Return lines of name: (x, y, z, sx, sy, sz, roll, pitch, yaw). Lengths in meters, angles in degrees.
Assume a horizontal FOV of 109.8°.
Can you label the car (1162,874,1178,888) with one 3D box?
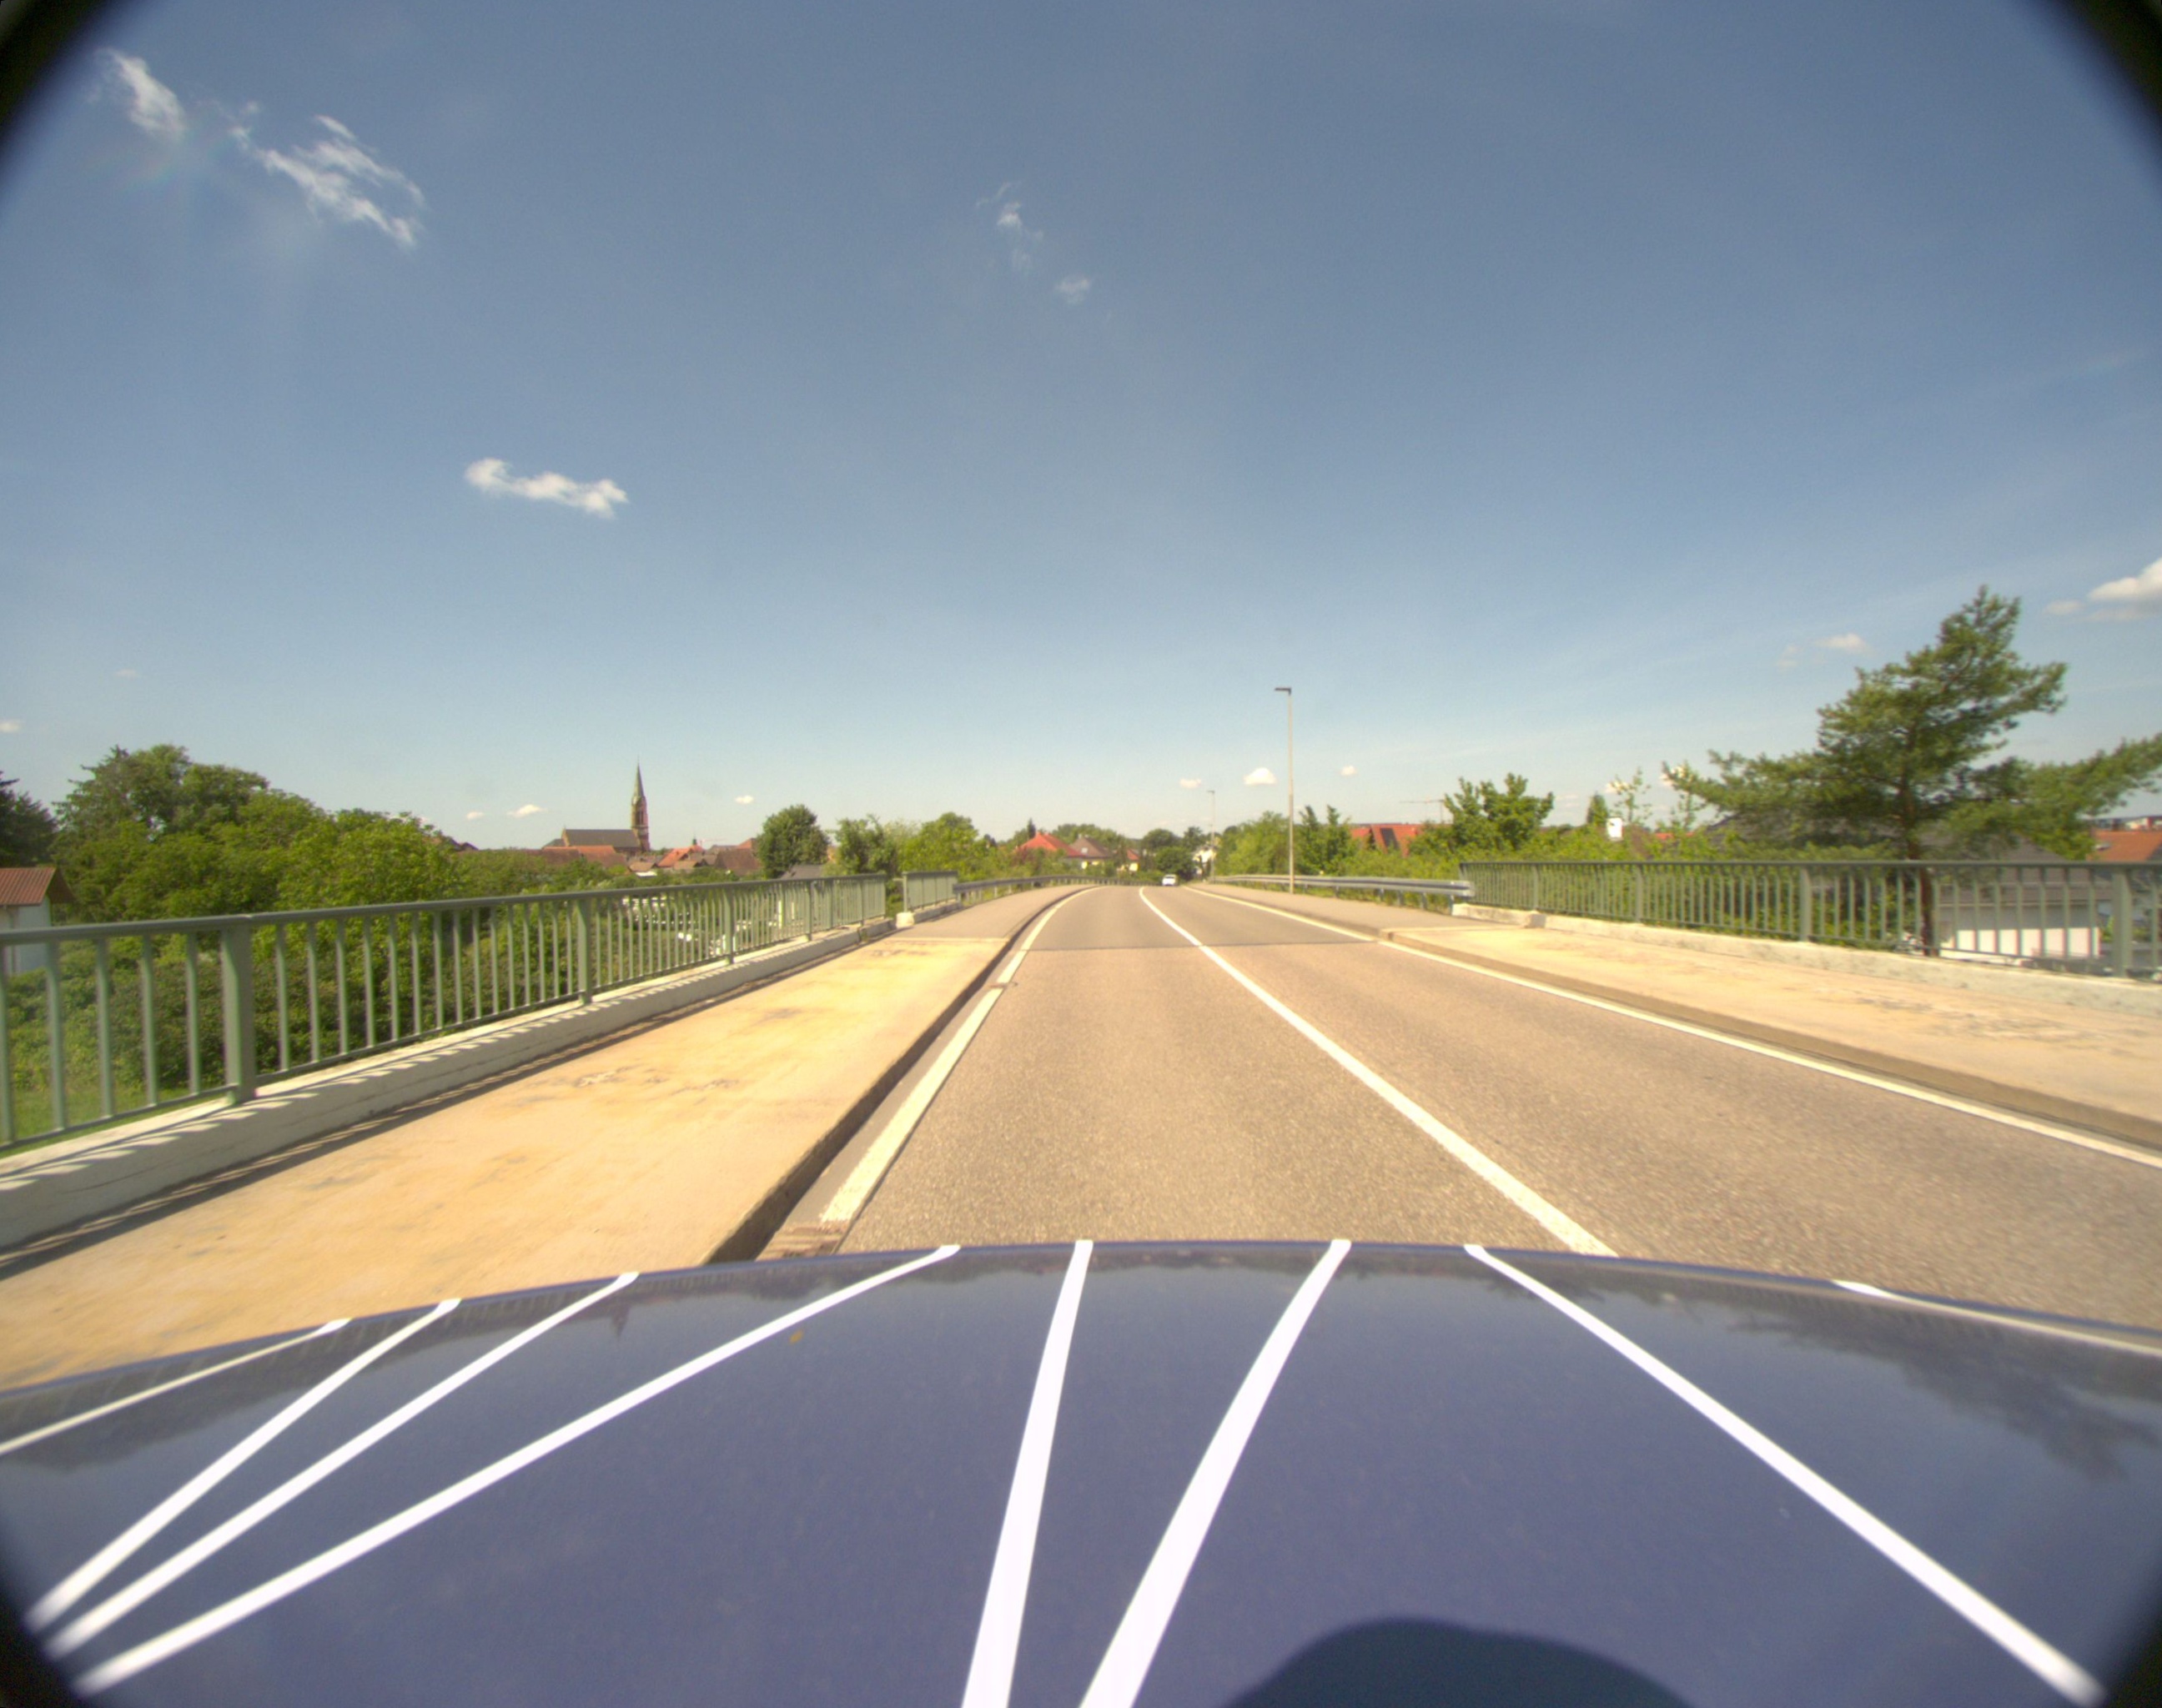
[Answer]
car: (13.506, 4.069, 115.449, 2.092, 1.751, 4.282, -2, 1, 3)
